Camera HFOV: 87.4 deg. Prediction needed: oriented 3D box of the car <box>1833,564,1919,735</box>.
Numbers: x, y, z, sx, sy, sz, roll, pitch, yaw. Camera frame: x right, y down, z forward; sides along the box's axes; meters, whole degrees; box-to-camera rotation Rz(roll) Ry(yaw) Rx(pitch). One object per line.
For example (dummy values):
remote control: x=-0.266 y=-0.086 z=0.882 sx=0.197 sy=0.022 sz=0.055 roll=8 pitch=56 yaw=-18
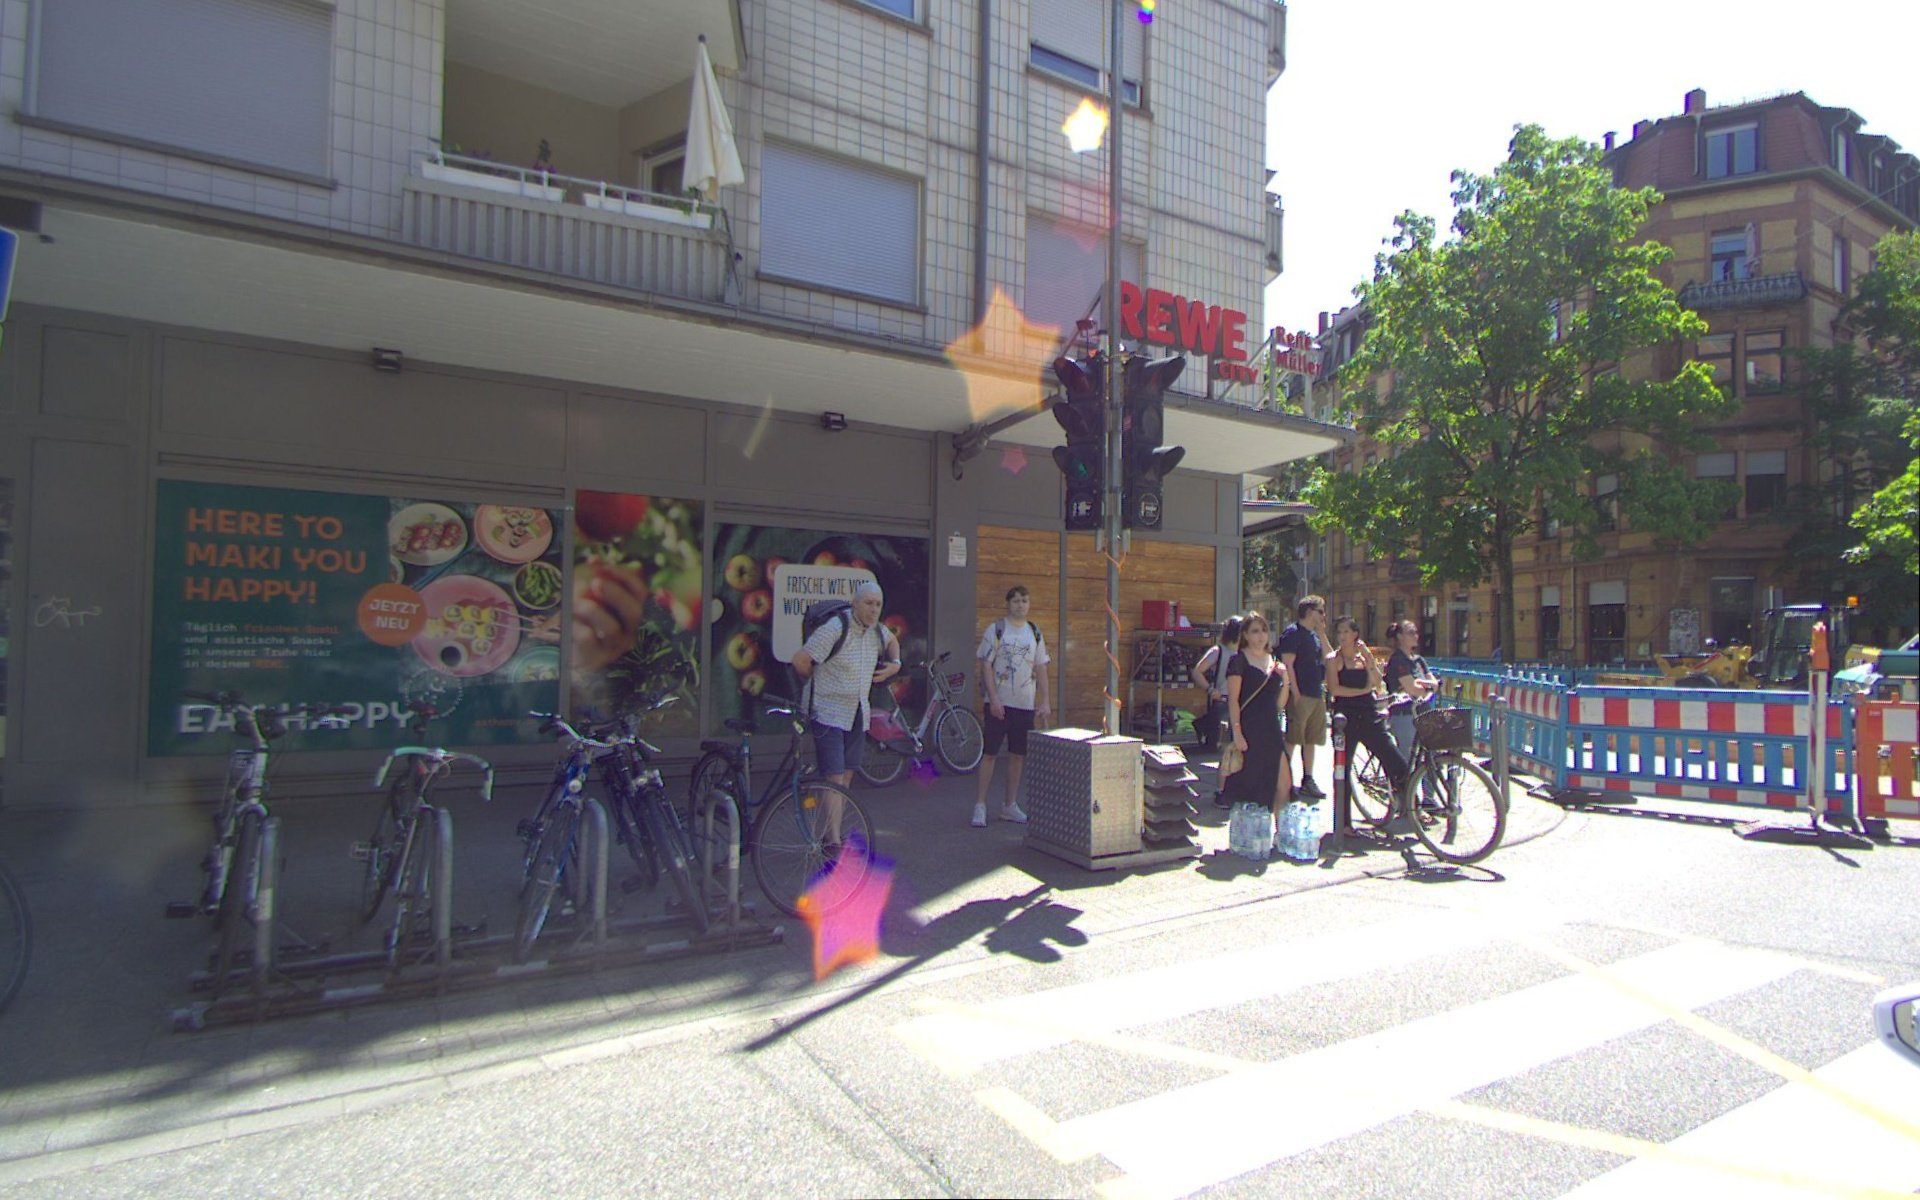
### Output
car: x=17.696 y=0.860 z=15.024 sx=2.351 sy=2.788 sz=6.593 roll=2 pitch=-1 yaw=-29

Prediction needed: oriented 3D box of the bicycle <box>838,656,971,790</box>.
bicycle: x=-0.476 y=1.085 z=9.216 sx=0.317 sy=1.100 sz=1.426 roll=0 pitch=-1 yaw=40

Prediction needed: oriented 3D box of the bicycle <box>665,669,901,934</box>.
bicycle: x=-1.069 y=1.025 z=5.705 sx=0.572 sy=1.137 sz=1.785 roll=2 pitch=-1 yaw=-36

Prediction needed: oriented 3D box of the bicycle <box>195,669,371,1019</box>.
bicycle: x=-2.996 y=0.946 z=4.467 sx=0.521 sy=1.154 sz=1.573 roll=2 pitch=0 yaw=-34

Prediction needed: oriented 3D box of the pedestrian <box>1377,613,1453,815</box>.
pedestrian: x=3.829 y=0.937 z=8.453 sx=0.470 sy=1.639 sz=0.387 roll=2 pitch=-2 yaw=-33

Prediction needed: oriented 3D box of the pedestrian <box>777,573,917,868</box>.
pedestrian: x=-0.727 y=0.732 z=6.414 sx=0.626 sy=1.749 sz=0.652 roll=2 pitch=-2 yaw=-35

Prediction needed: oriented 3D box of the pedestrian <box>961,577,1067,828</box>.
pedestrian: x=0.407 y=0.751 z=7.575 sx=0.593 sy=1.794 sz=0.506 roll=2 pitch=-2 yaw=-33

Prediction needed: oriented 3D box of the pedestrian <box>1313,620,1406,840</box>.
pedestrian: x=2.994 y=0.952 z=7.556 sx=0.450 sy=1.586 sz=0.497 roll=1 pitch=0 yaw=-4

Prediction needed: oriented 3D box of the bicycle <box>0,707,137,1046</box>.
bicycle: x=-3.724 y=0.943 z=2.984 sx=0.592 sy=1.106 sz=1.941 roll=0 pitch=-2 yaw=18

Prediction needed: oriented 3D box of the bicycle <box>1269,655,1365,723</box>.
bicycle: x=6.127 y=1.512 z=17.270 sx=1.553 sy=1.086 sz=0.341 roll=-1 pitch=-3 yaw=43

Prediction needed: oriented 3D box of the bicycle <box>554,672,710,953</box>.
bicycle: x=-1.736 y=0.999 z=5.191 sx=0.332 sy=1.132 sz=1.509 roll=2 pitch=0 yaw=-34

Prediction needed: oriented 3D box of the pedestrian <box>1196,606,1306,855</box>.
pedestrian: x=2.049 y=0.886 z=7.085 sx=0.506 sy=1.654 sz=0.538 roll=2 pitch=-2 yaw=-33

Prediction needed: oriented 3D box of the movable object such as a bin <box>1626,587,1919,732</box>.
movable object such as a bin: x=16.947 y=1.120 z=21.100 sx=1.934 sy=2.694 sz=4.517 roll=2 pitch=-1 yaw=-32

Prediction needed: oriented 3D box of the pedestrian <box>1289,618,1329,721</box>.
pedestrian: x=5.942 y=1.177 z=17.127 sx=0.578 sy=1.737 sz=0.391 roll=1 pitch=-2 yaw=9

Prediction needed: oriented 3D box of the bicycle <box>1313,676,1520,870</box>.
bicycle: x=3.289 y=1.190 z=7.423 sx=0.459 sy=1.134 sz=1.808 roll=1 pitch=-1 yaw=-9

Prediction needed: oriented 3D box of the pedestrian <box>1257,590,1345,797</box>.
pedestrian: x=3.160 y=0.846 z=9.308 sx=0.593 sy=1.844 sz=0.506 roll=2 pitch=-2 yaw=-33

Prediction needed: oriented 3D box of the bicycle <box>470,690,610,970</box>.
bicycle: x=-2.107 y=1.039 z=4.952 sx=0.332 sy=1.049 sz=1.438 roll=2 pitch=0 yaw=-34

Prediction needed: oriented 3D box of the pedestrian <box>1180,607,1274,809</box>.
pedestrian: x=2.300 y=0.904 z=8.654 sx=0.593 sy=1.654 sz=0.506 roll=2 pitch=-2 yaw=-33

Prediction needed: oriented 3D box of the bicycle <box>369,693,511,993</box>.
bicycle: x=-2.476 y=1.033 z=4.716 sx=0.394 sy=1.044 sz=1.484 roll=2 pitch=0 yaw=-34
